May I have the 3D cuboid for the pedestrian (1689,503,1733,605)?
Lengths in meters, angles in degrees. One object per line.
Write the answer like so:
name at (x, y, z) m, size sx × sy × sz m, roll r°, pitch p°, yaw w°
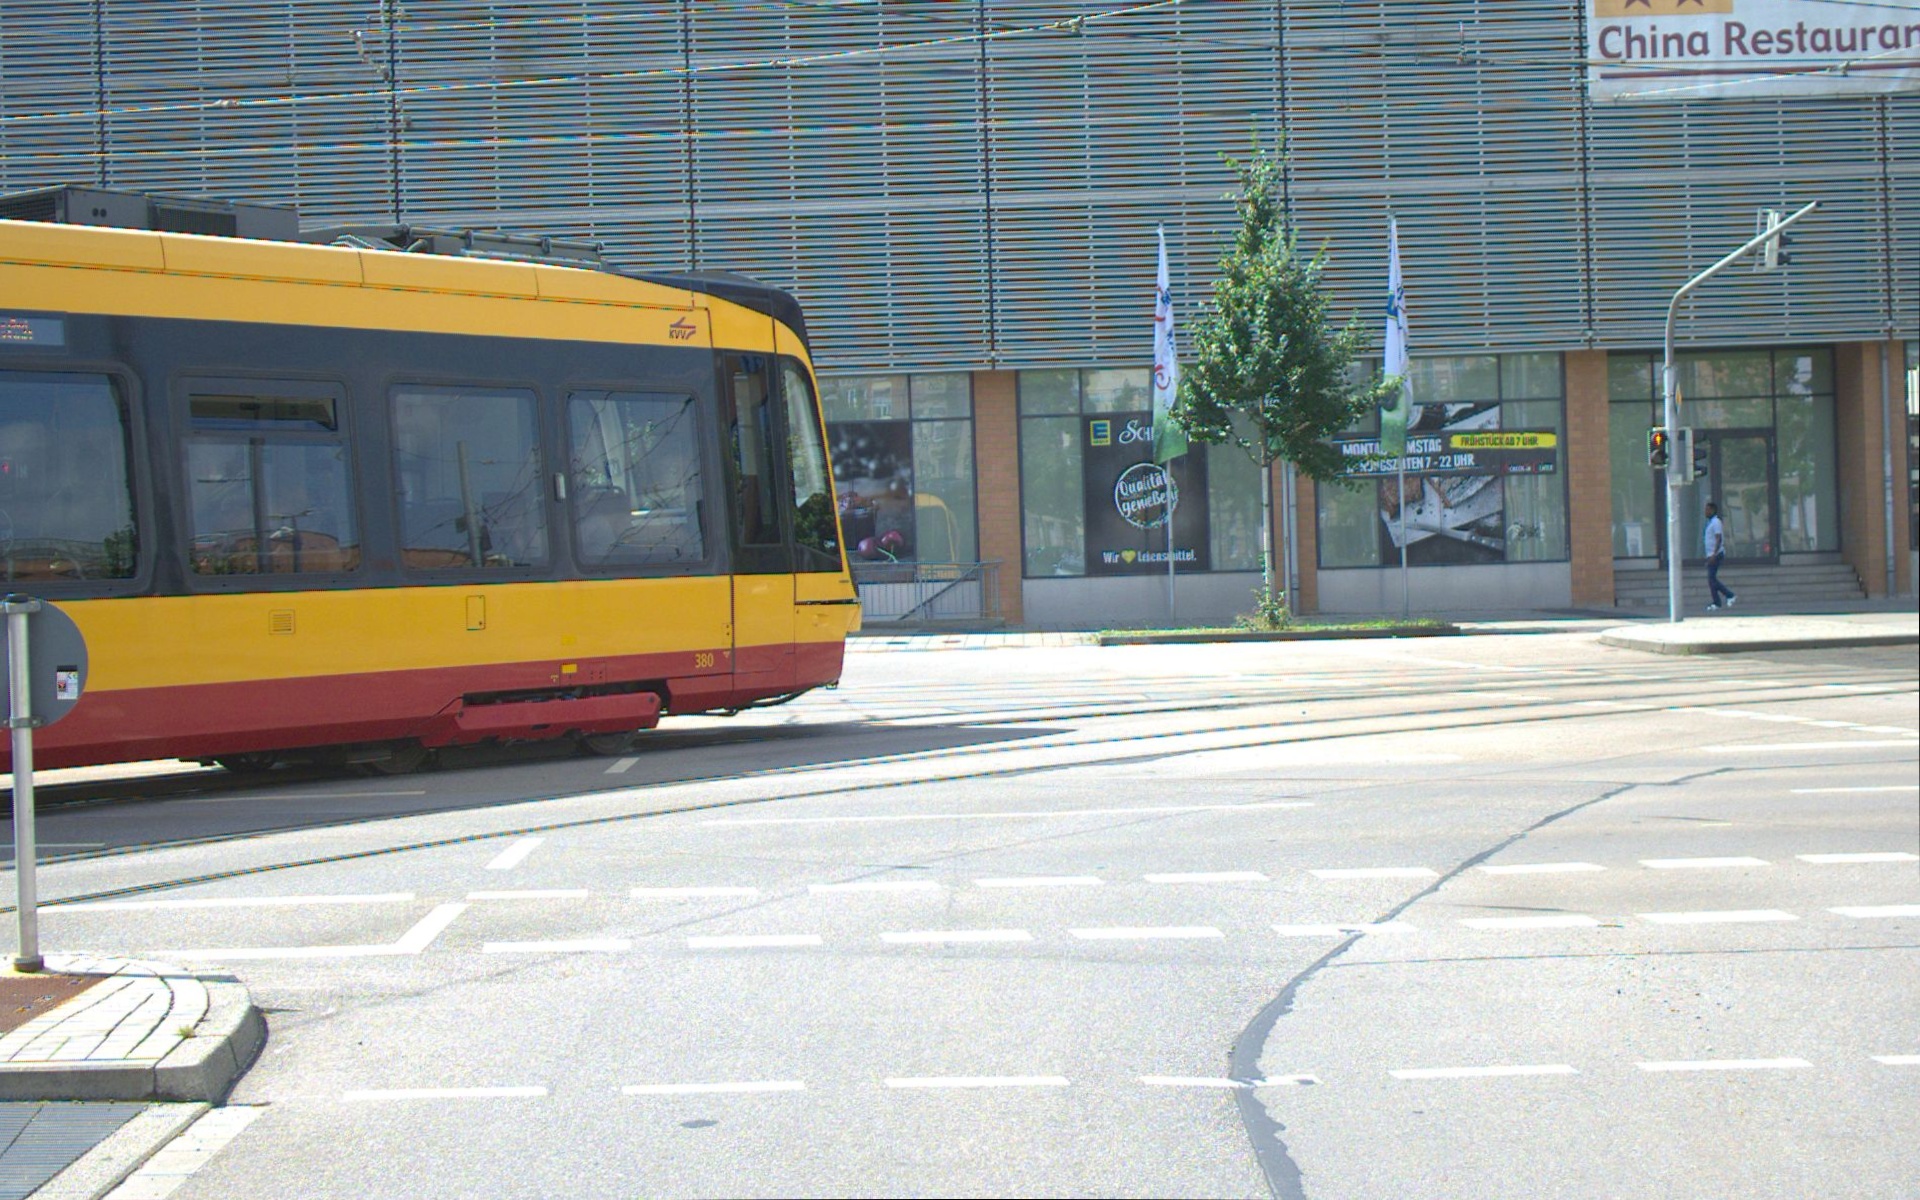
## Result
pedestrian at (12.860, -0.795, 58.858) m, size 0.618 × 1.740 × 0.629 m, roll 0°, pitch 1°, yaw 1°

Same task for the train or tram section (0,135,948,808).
train or tram section at (-4.940, -0.758, 21.515) m, size 3.061 × 3.608 × 12.613 m, roll -2°, pitch 1°, yaw 34°
